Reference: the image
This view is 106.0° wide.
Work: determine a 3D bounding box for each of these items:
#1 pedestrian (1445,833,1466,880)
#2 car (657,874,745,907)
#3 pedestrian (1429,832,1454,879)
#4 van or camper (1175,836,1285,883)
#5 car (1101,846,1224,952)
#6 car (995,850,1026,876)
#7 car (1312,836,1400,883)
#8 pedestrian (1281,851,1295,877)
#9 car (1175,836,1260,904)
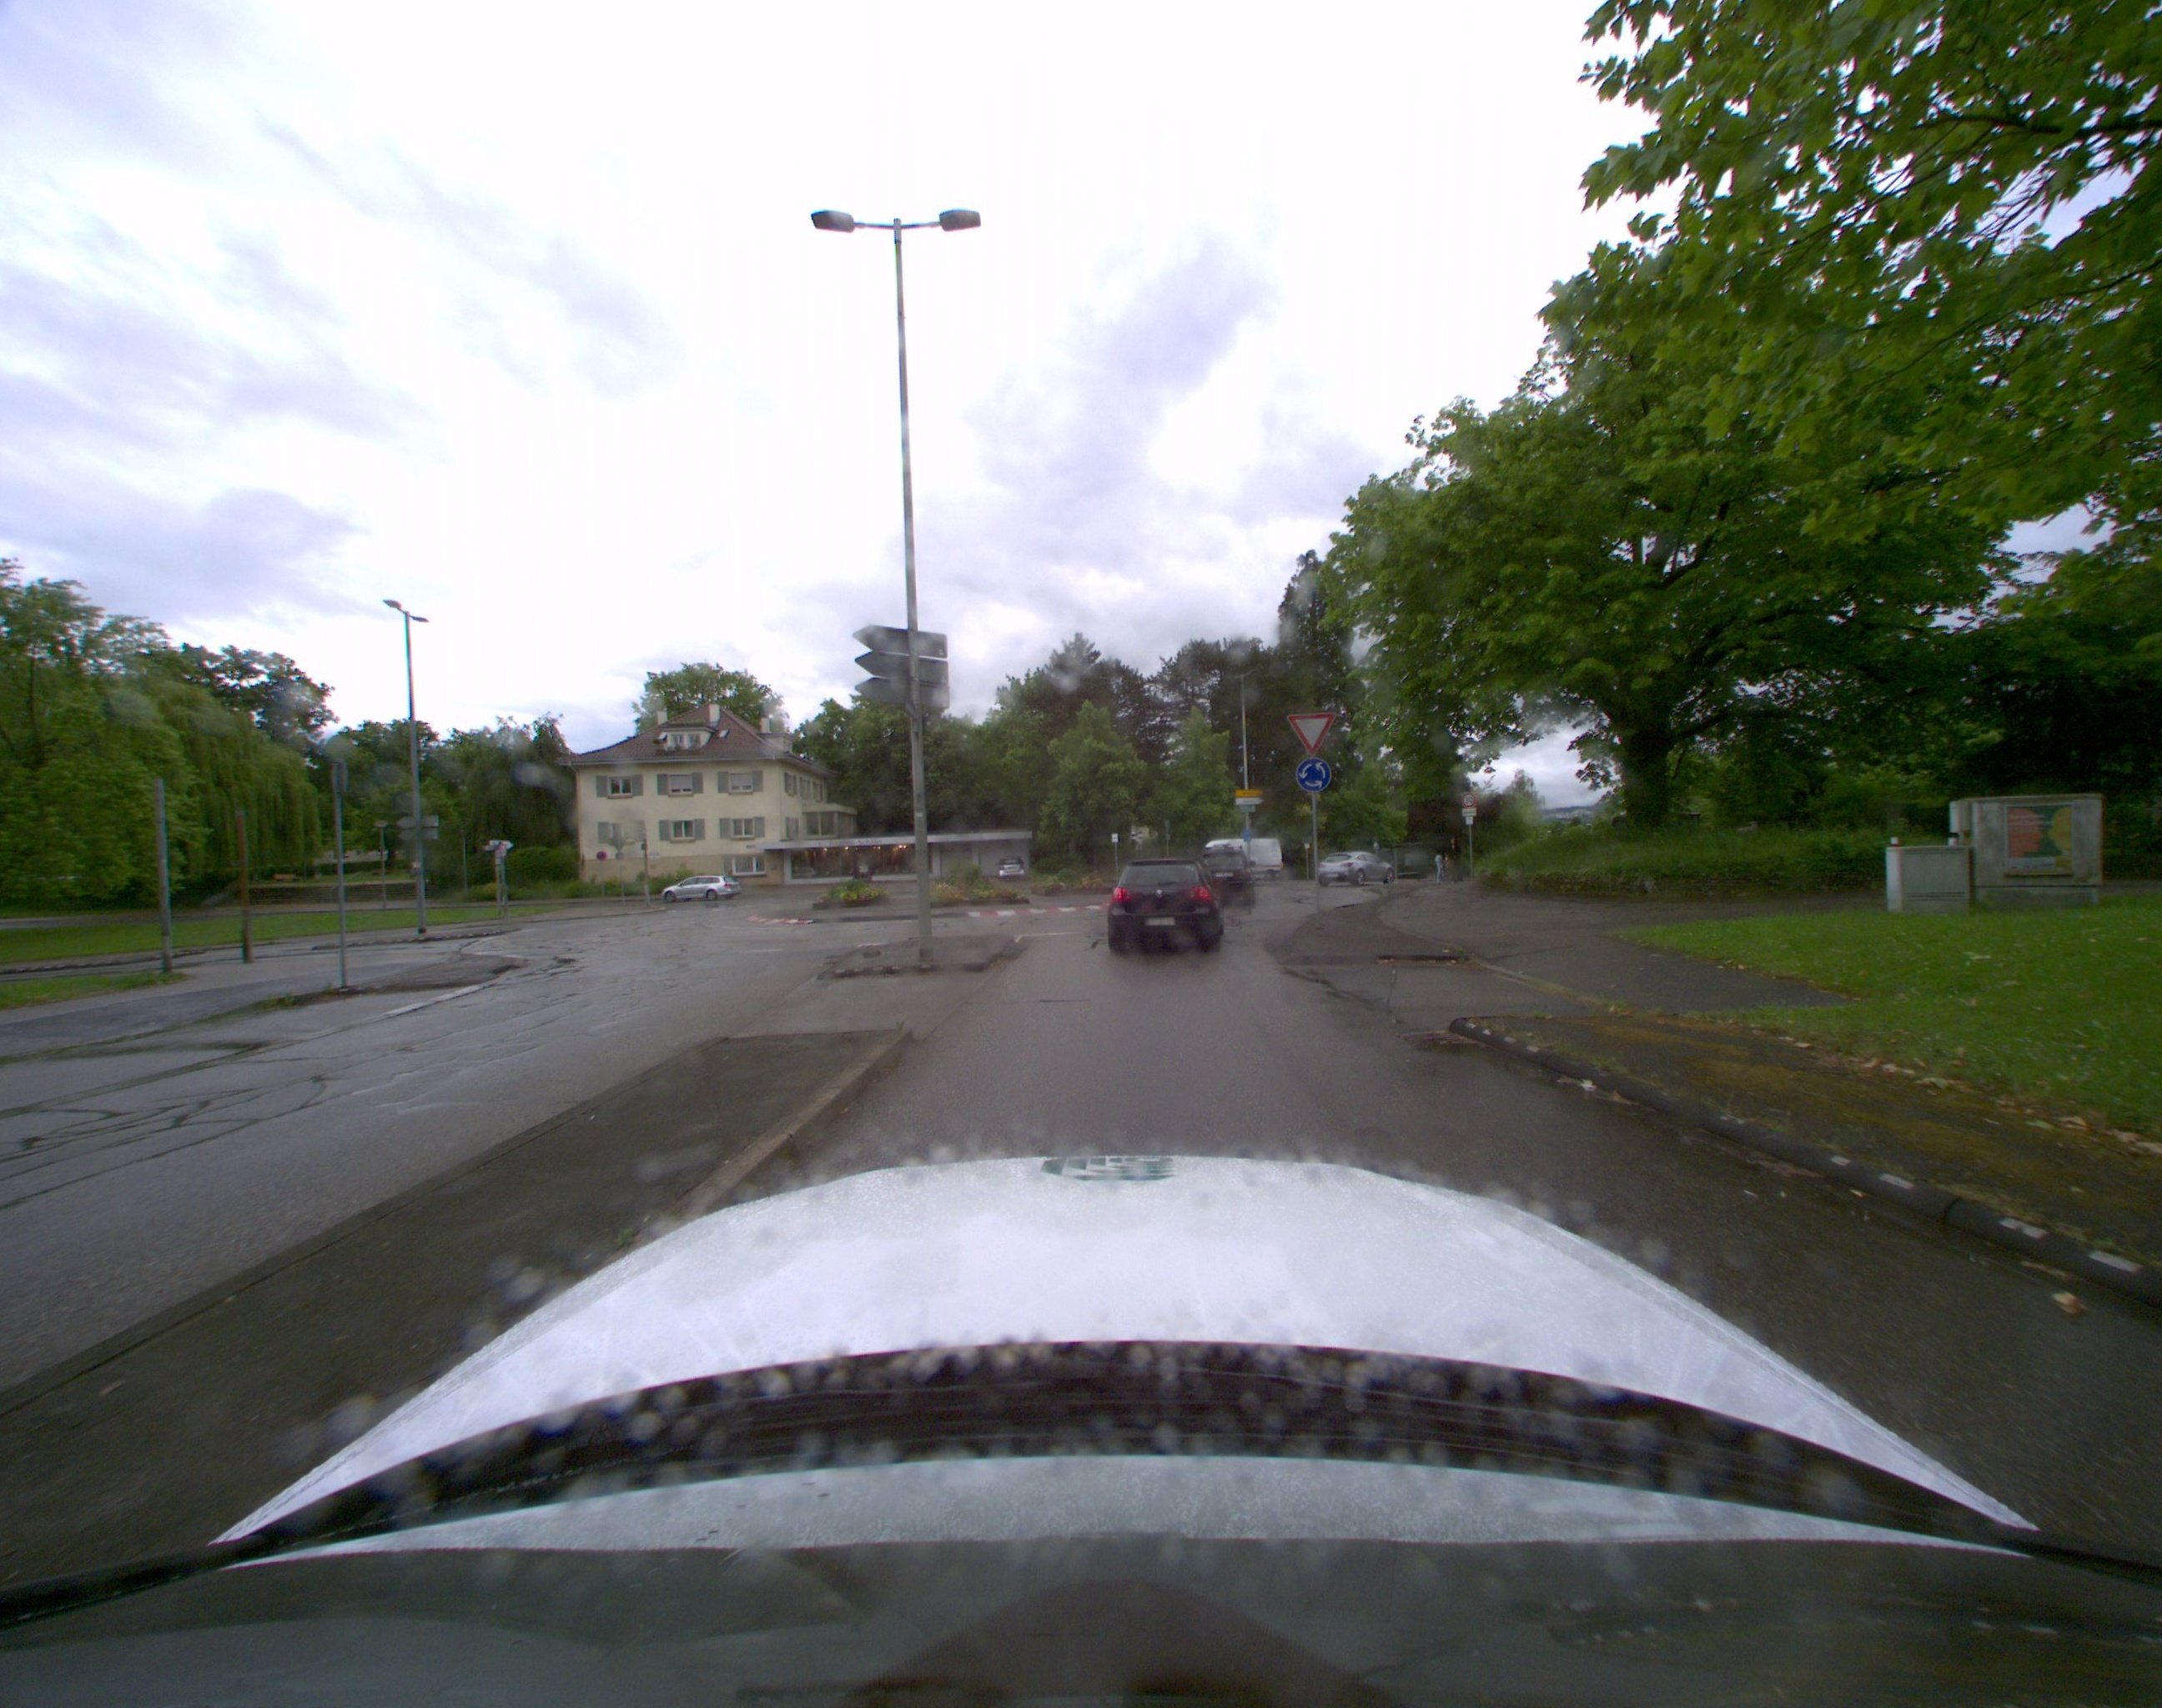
[{"bbox_3d":[14.047,0.099,30.549,0.629,1.713,0.532,-1,-1,17],"label":"pedestrian"},{"bbox_3d":[-21.753,2.079,46.711,4.104,1.741,2.006,-1,-1,10],"label":"car"},{"bbox_3d":[13.286,0.067,29.999,0.529,1.713,0.633,-1,-1,-14],"label":"pedestrian"},{"bbox_3d":[8.056,0.267,43.948,5.682,2.378,2.181,0,-1,-28],"label":"van or camper"},{"bbox_3d":[1.539,0.668,13.988,1.754,1.538,4.012,-1,0,10],"label":"car"},{"bbox_3d":[-4.582,0.547,52.383,1.810,1.486,3.823,-3,0,-6],"label":"car"},{"bbox_3d":[11.863,0.213,34.950,4.271,1.801,1.748,-3,-1,-45],"label":"car"},{"bbox_3d":[13.826,0.654,54.334,0.731,1.725,0.821,-1,-1,22],"label":"pedestrian"},{"bbox_3d":[4.055,0.457,24.900,1.759,1.801,4.244,-3,-1,-1],"label":"car"}]
